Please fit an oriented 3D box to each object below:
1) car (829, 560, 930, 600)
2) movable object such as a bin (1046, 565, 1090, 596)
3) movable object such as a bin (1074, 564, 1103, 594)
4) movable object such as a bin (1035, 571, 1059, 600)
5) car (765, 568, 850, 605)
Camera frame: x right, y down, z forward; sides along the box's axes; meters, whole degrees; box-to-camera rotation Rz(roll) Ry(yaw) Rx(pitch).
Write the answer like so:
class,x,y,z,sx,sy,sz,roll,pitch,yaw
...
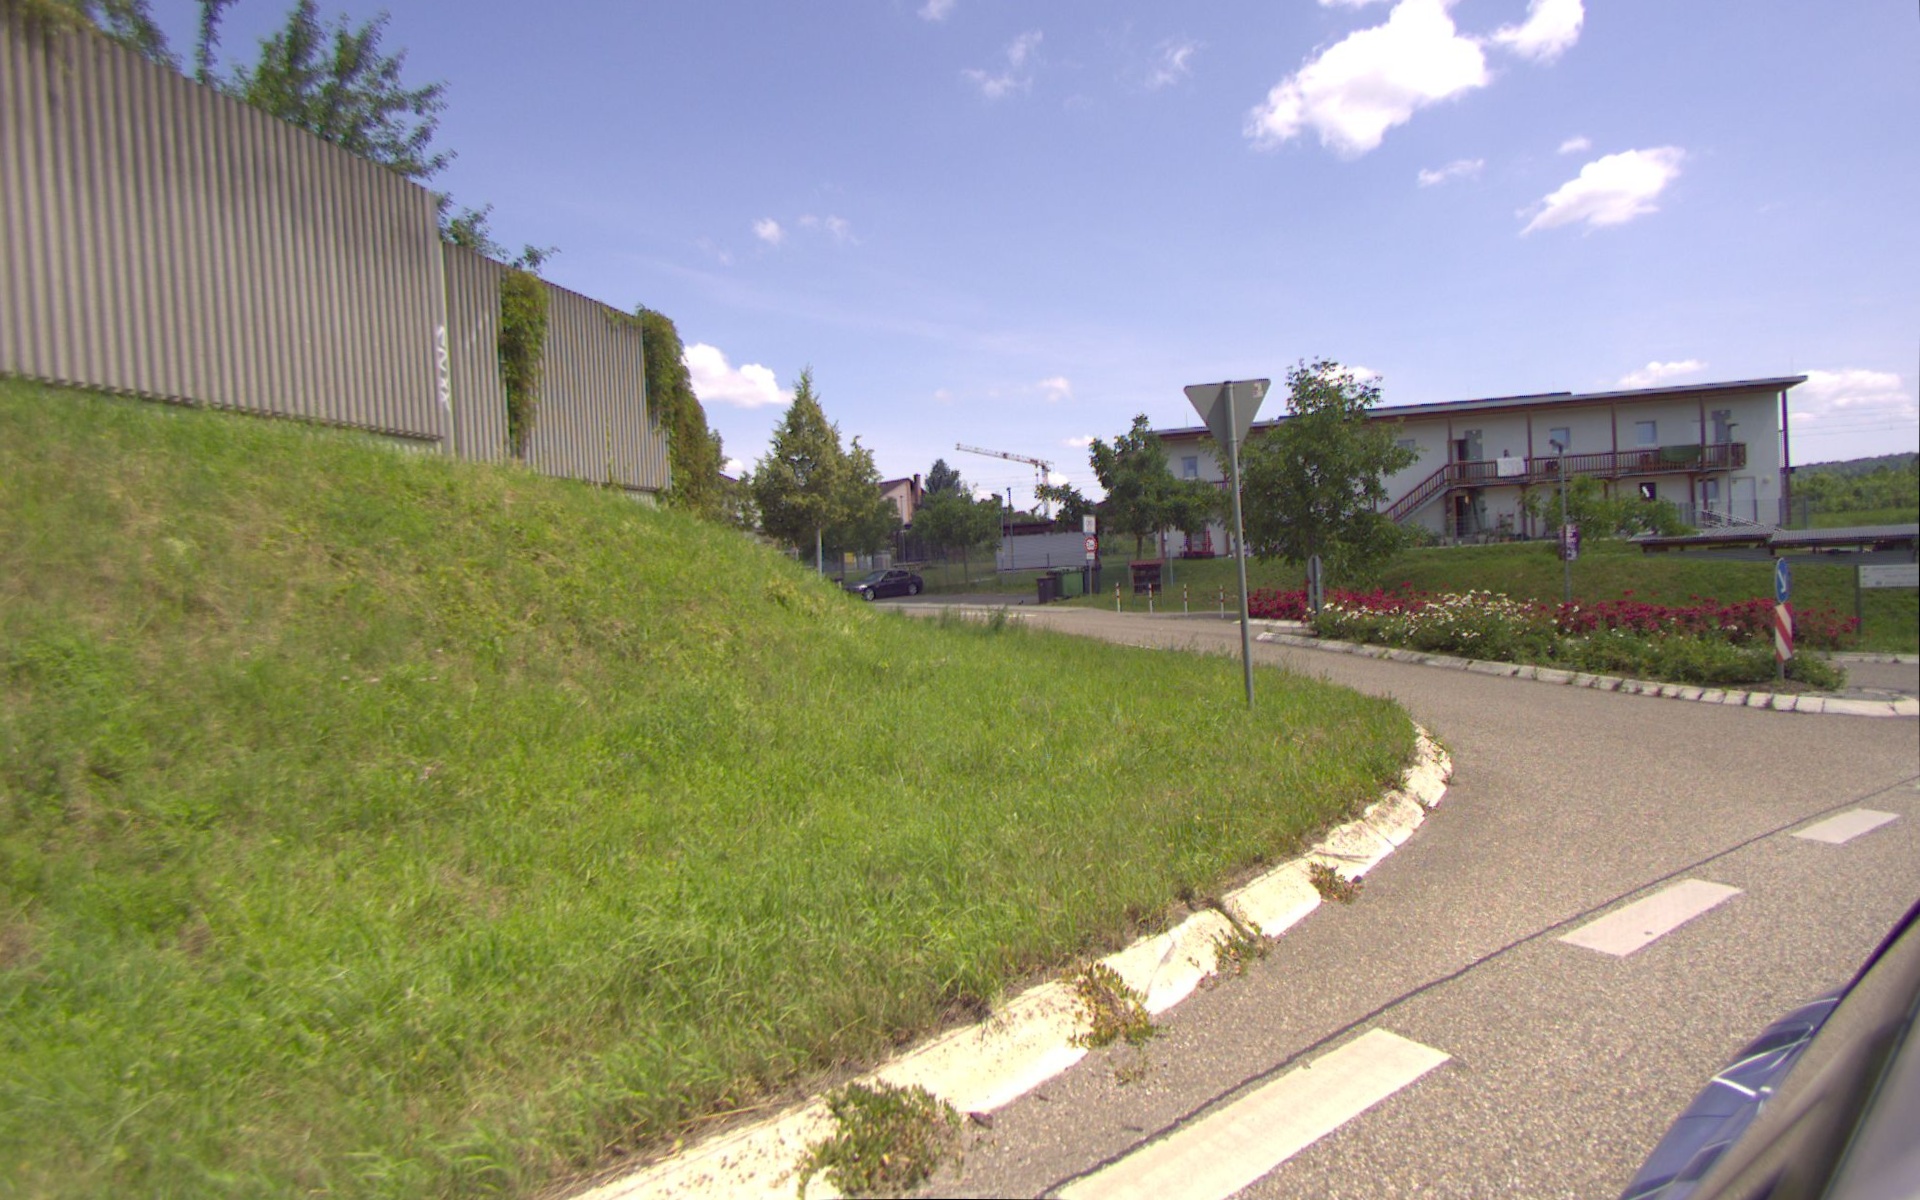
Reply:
class,x,y,z,sx,sy,sz,roll,pitch,yaw
car,-4.061,-0.999,51.496,4.979,1.792,1.994,-1,-3,-45
movable object such as a bin,4.246,-0.775,39.842,1.339,1.117,0.968,-2,-3,-32
movable object such as a bin,5.147,-0.846,40.529,0.777,1.132,0.761,-1,-3,-32
movable object such as a bin,3.383,-0.555,39.312,0.614,1.095,0.625,-1,-3,-32
car,-8.230,-0.714,54.850,4.159,1.792,1.994,-1,-3,-45
